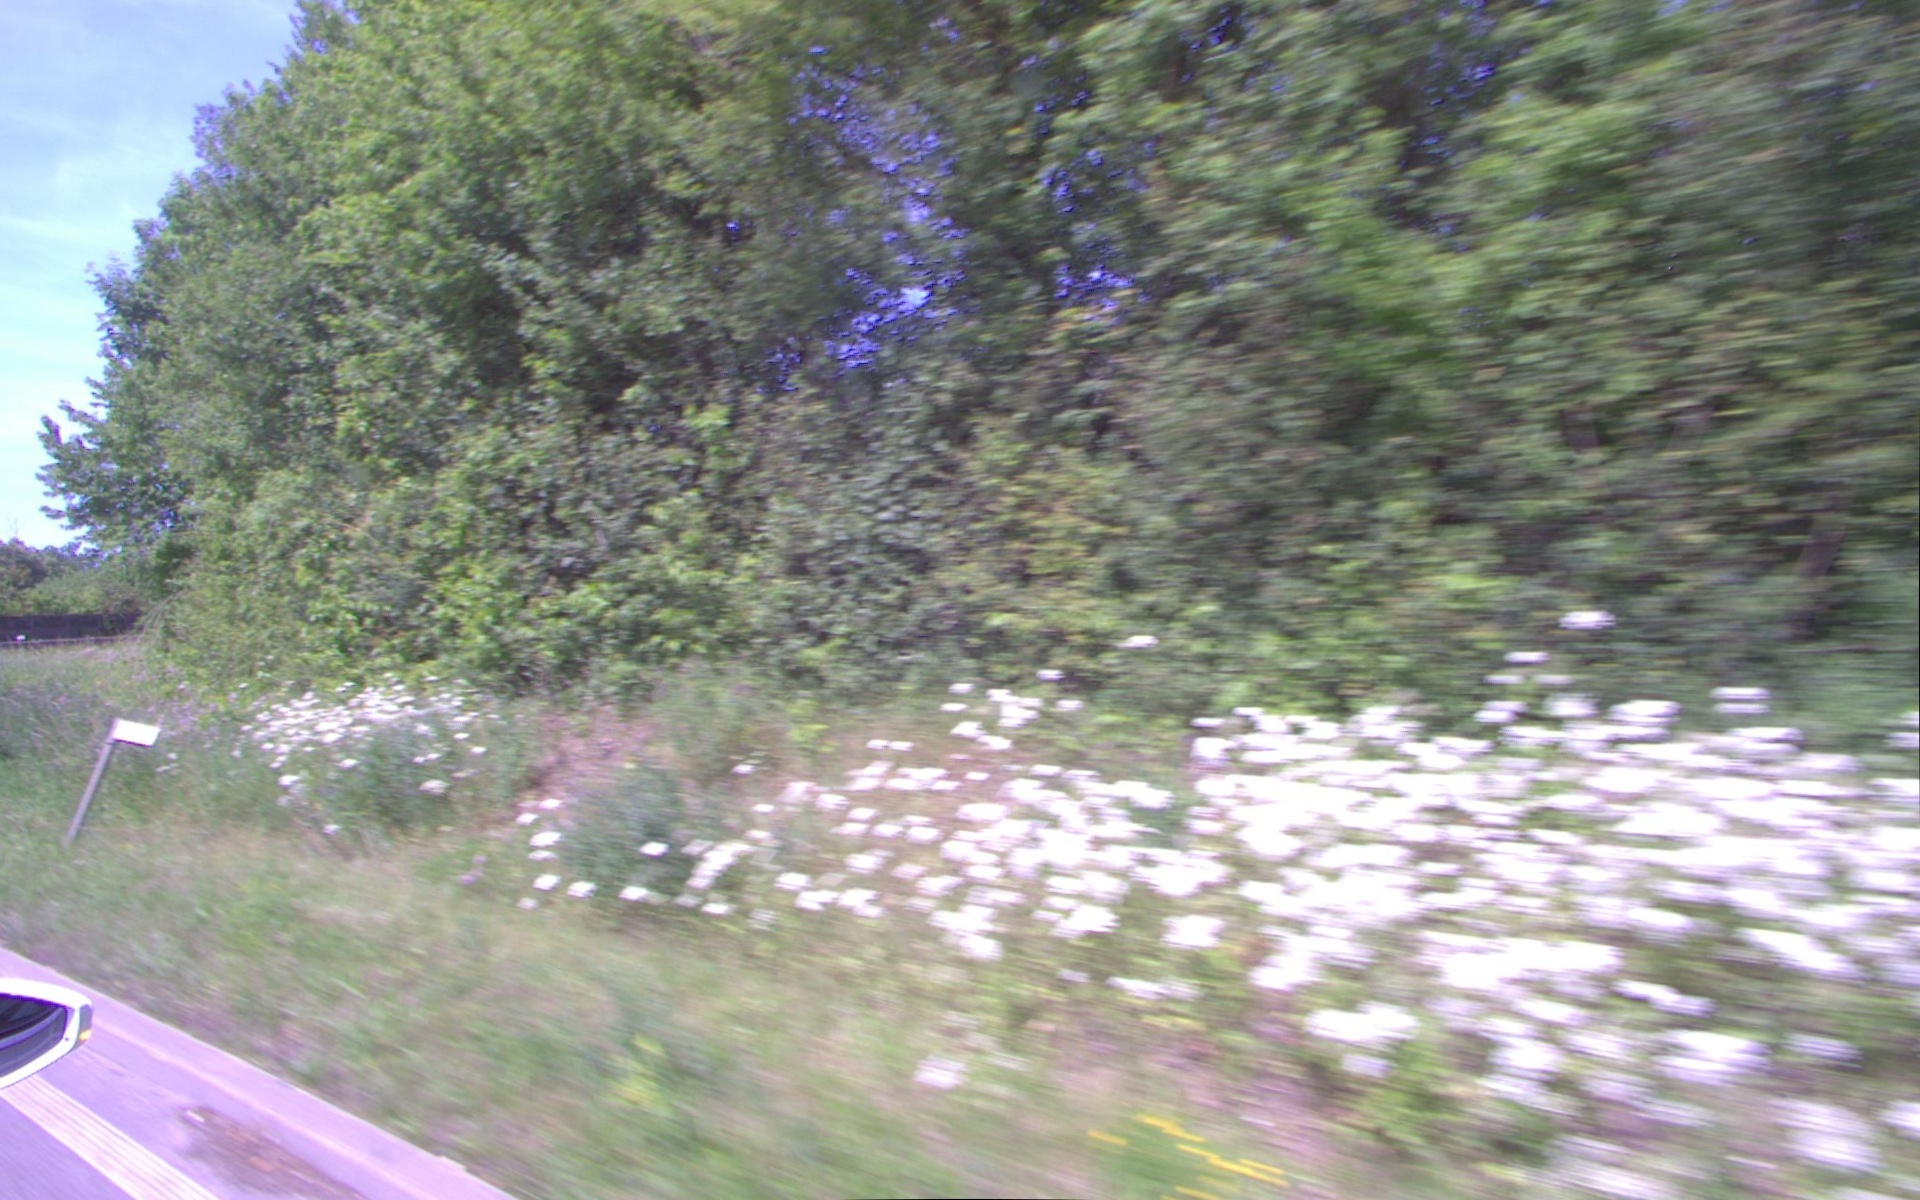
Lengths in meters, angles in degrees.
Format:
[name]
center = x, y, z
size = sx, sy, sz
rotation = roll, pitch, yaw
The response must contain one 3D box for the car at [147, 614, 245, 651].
[car]
center = -35.178, 1.466, 46.233
size = 1.639, 1.506, 3.999
rotation = -1, 0, -4
